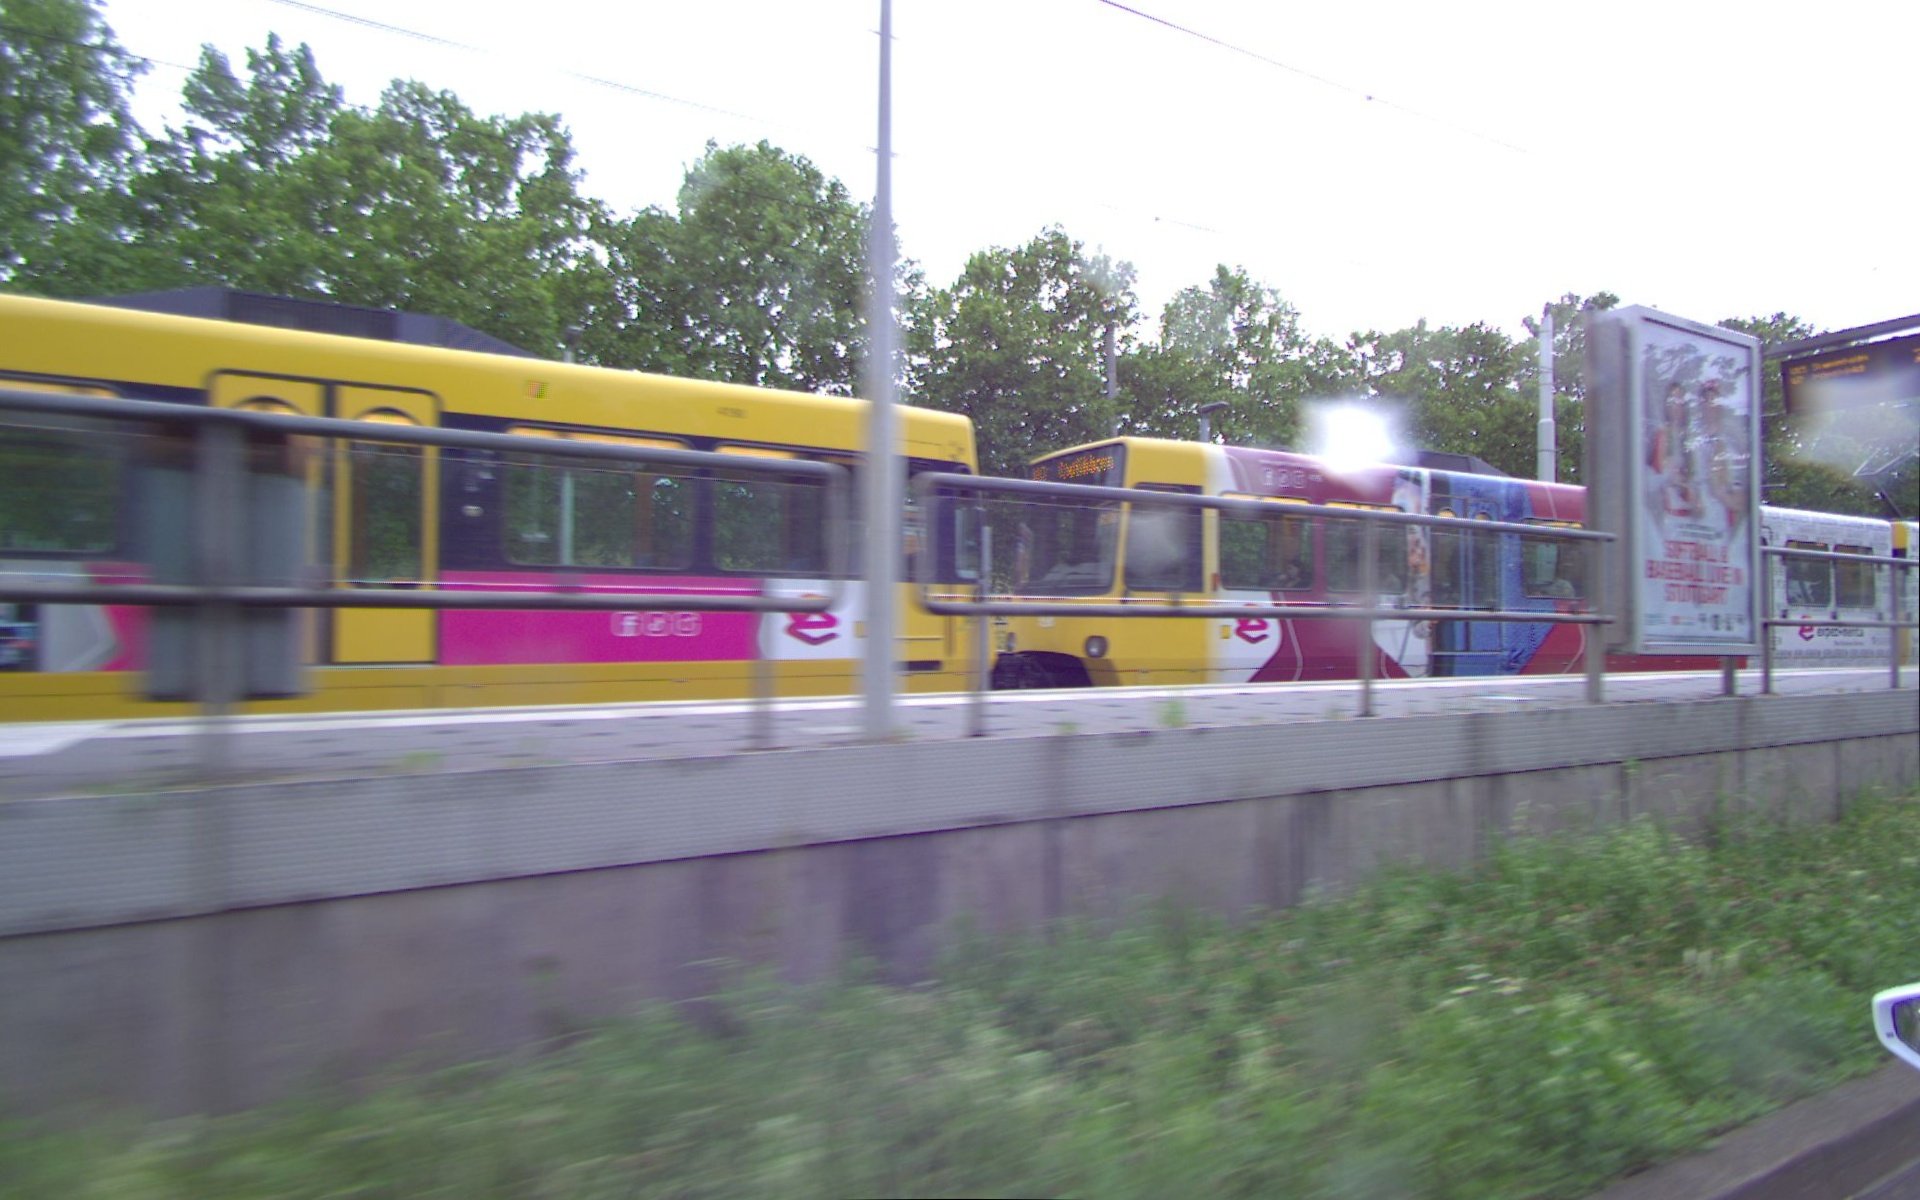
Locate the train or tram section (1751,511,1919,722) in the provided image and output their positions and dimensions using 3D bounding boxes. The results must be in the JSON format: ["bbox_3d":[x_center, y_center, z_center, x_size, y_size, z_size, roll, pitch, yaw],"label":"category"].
[{"bbox_3d":[26.387,0.578,24.242,19.062,4.013,2.860,2,0,-24],"label":"train or tram section"}]

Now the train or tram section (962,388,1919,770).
[{"bbox_3d":[9.229,0.048,16.135,19.078,4.024,2.858,2,0,-27],"label":"train or tram section"}]

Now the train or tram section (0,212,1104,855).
[{"bbox_3d":[-7.538,-0.462,7.030,19.098,4.007,2.855,2,0,-30],"label":"train or tram section"}]
